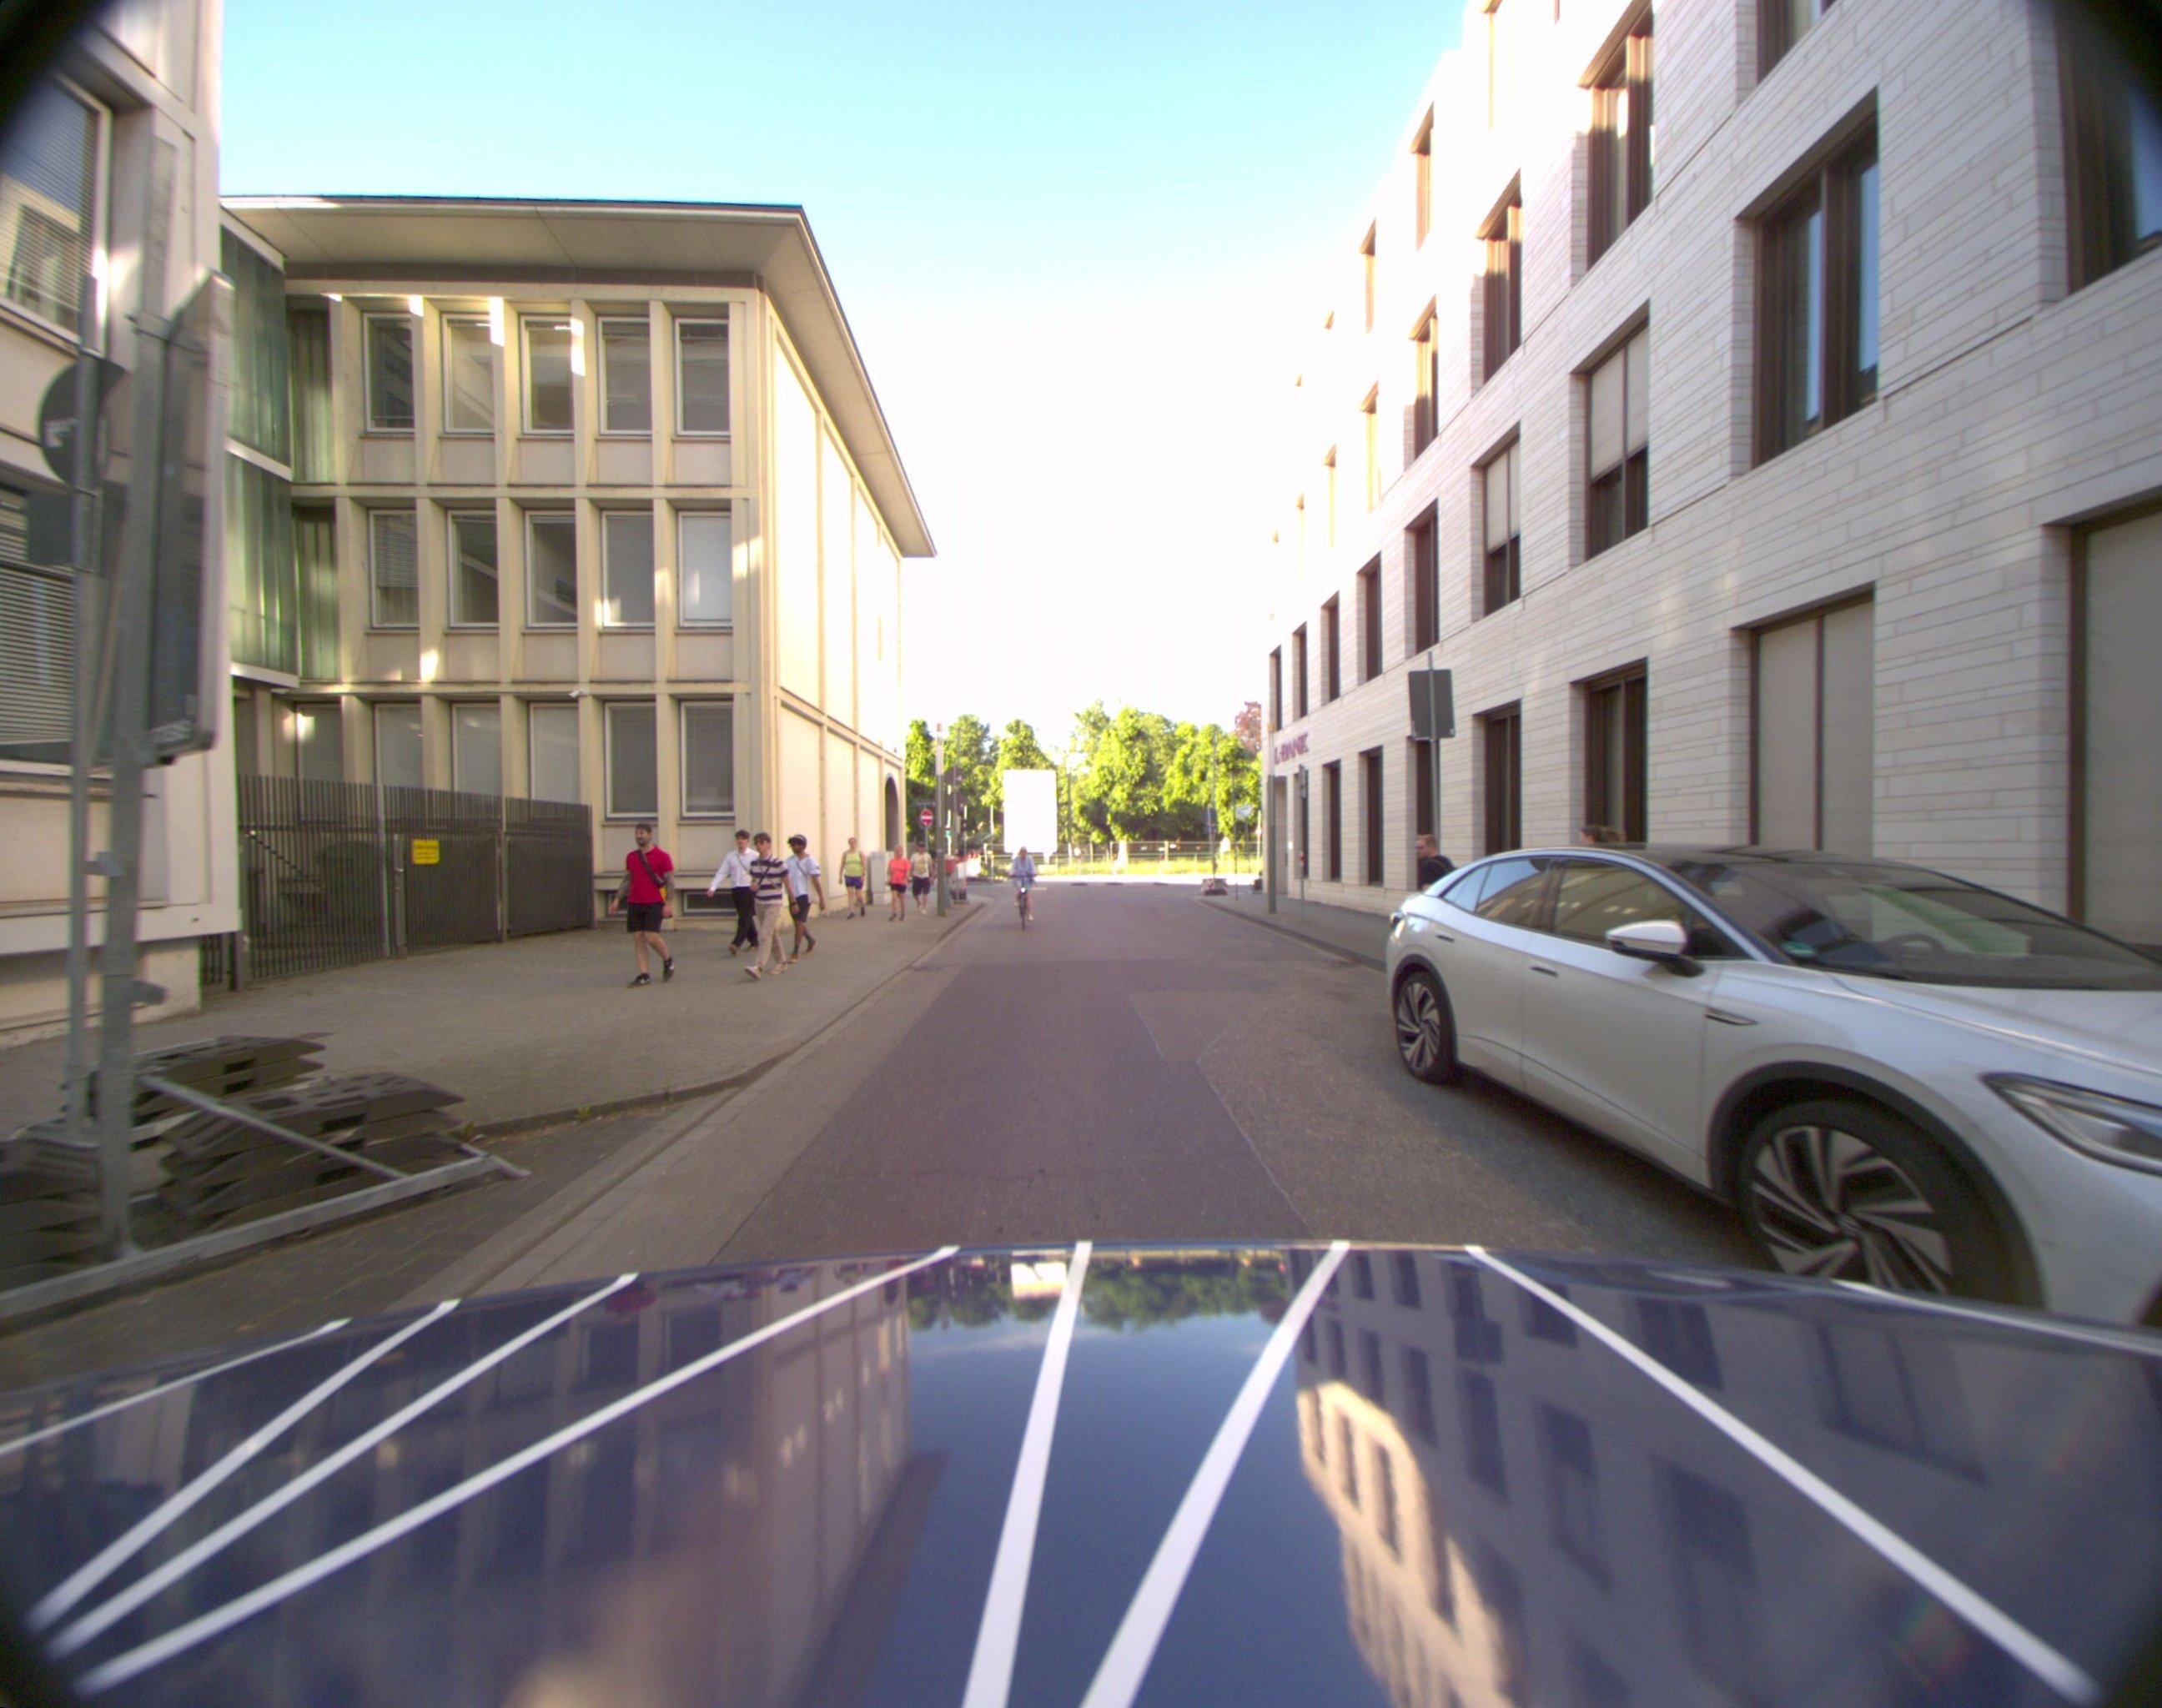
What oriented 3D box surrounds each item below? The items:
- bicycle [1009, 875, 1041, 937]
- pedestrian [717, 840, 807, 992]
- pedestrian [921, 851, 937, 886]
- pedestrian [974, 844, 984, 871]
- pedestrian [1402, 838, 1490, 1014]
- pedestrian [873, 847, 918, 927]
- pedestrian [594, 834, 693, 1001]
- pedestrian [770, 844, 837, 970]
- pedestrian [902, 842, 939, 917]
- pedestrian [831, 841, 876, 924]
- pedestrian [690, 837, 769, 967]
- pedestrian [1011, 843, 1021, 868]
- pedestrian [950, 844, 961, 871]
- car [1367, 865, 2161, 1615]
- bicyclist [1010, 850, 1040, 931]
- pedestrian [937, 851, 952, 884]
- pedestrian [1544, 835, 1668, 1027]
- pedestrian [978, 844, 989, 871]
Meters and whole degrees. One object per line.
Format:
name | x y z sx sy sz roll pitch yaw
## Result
bicycle | -1.185 1.053 16.055 0.595 1.077 2.309 -2 1 -4
pedestrian | -3.946 0.743 9.438 0.685 1.768 0.693 5 1 0
pedestrian | -7.230 0.681 36.178 0.626 1.633 0.622 -2 2 -7
pedestrian | -6.926 0.252 51.498 0.626 1.773 0.622 -2 2 -7
pedestrian | 3.856 0.733 8.058 0.643 1.780 0.575 -2 2 -1
pedestrian | -3.943 0.689 16.201 0.685 1.627 0.693 4 1 0
pedestrian | -4.859 0.682 8.469 0.685 1.768 0.593 3 1 0
pedestrian | -4.034 0.742 11.077 0.685 1.768 0.693 1 1 0
pedestrian | -3.765 0.589 17.850 0.685 1.706 0.693 2 1 0
pedestrian | -4.818 0.587 16.137 0.685 1.706 0.693 2 1 0
pedestrian | -5.050 0.670 10.944 0.685 1.768 0.693 5 1 0
pedestrian | -4.668 0.120 54.286 0.623 1.773 0.626 -2 2 -7
pedestrian | -8.532 0.222 51.569 0.626 1.773 0.622 -2 2 -7
car | 3.163 0.859 3.588 1.827 1.532 4.445 1 0 -2
bicyclist | -1.184 0.763 16.124 0.586 1.679 0.538 -2 2 -5
pedestrian | -6.722 0.661 37.371 0.626 1.605 0.622 -2 2 -7
pedestrian | 5.139 0.708 7.476 0.645 1.780 0.816 -2 2 -1
pedestrian | -6.508 0.233 50.710 0.626 1.773 0.622 -2 2 -7
